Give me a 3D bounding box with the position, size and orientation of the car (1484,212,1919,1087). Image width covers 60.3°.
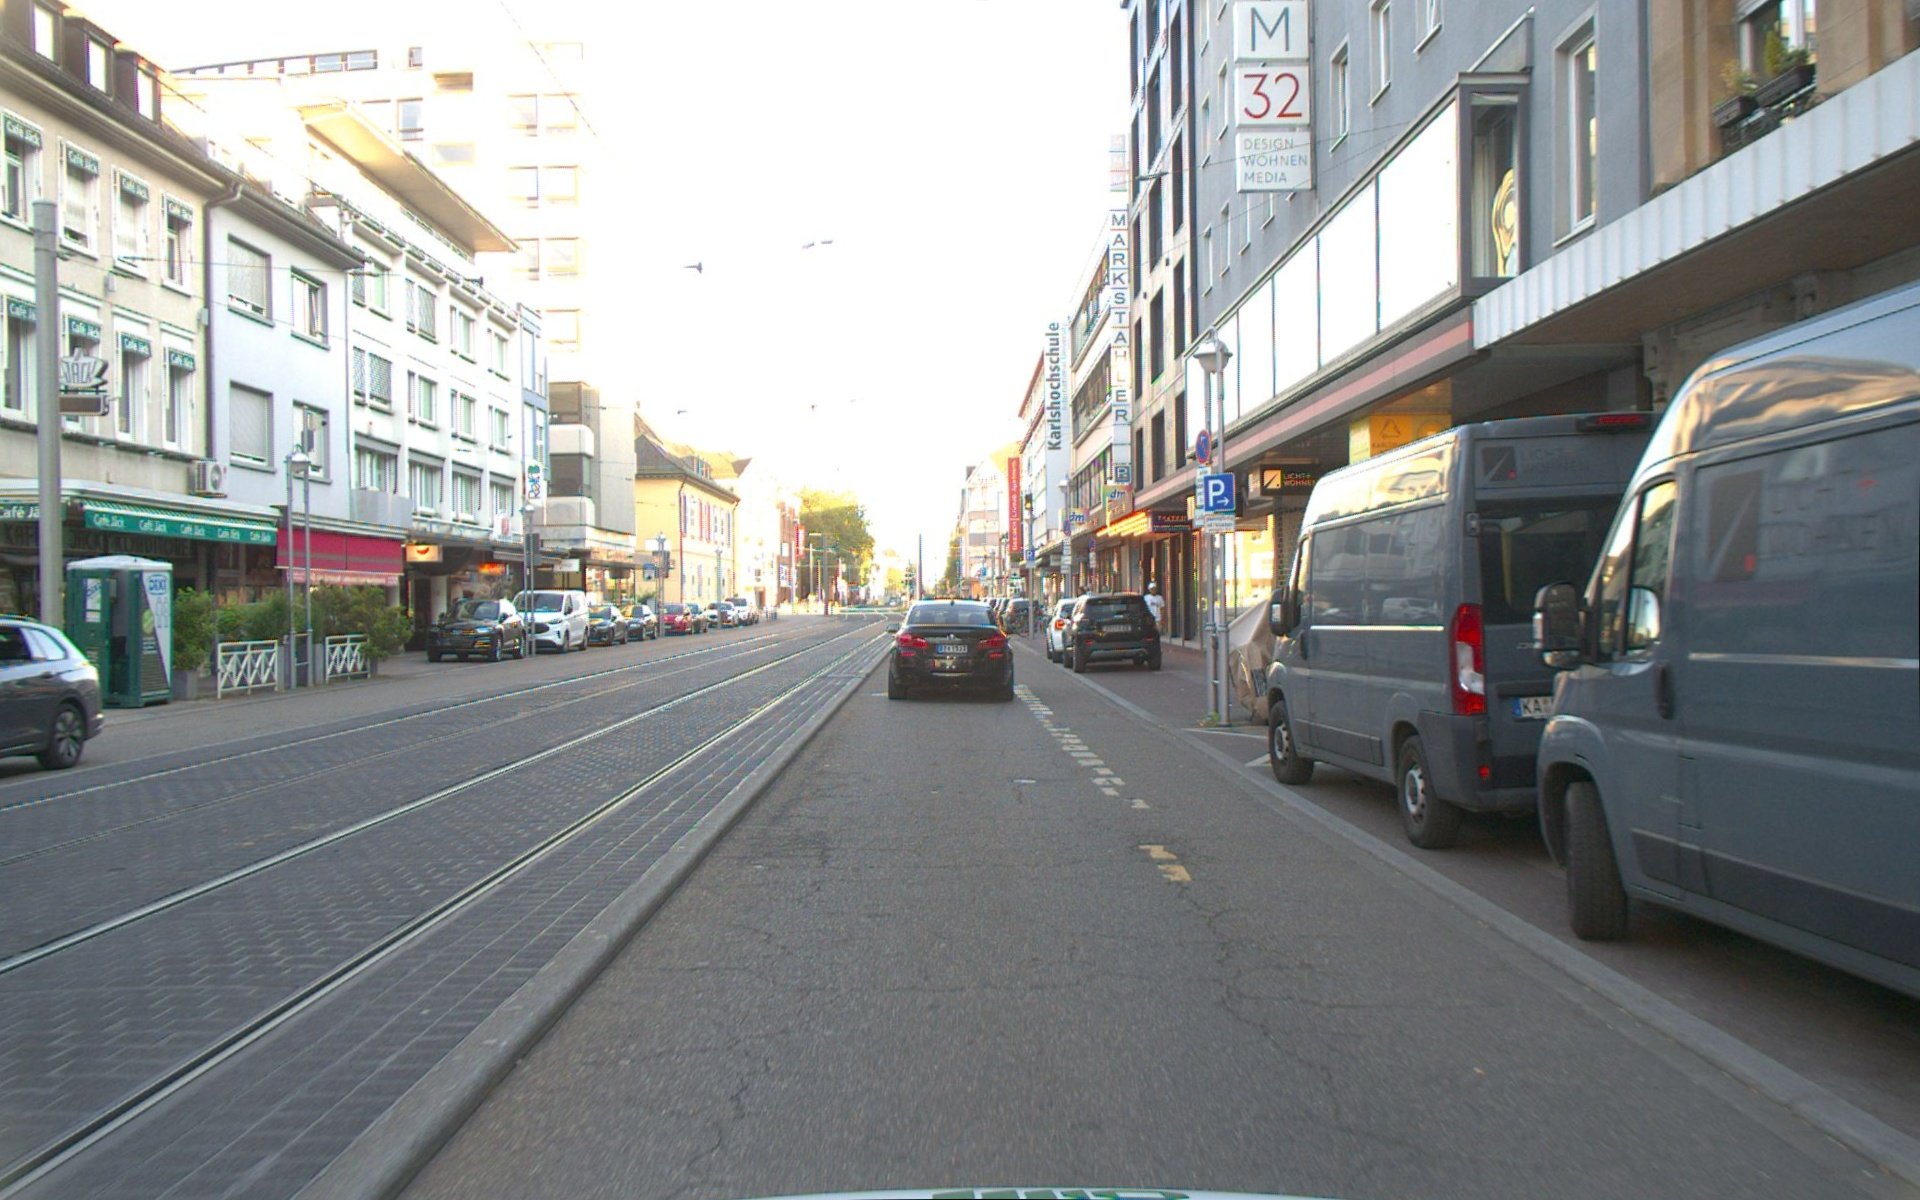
[{"bbox_3d":[3.750,0.119,5.323,2.050,2.498,6.031,-2,0,-1],"label":"car"}]

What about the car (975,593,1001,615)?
[{"bbox_3d":[1.975,0.291,117.092,1.738,1.576,3.502,0,-1,-1],"label":"car"}]

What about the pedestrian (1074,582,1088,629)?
[{"bbox_3d":[4.483,0.203,61.321,0.465,1.729,0.752,-1,0,3],"label":"pedestrian"}]

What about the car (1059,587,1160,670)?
[{"bbox_3d":[3.041,0.550,34.233,1.621,1.564,3.885,-2,0,-1],"label":"car"}]

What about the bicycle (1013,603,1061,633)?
[{"bbox_3d":[2.928,0.685,63.197,1.823,1.099,0.468,-1,-1,0],"label":"bicycle"}]

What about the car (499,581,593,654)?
[{"bbox_3d":[-13.273,0.529,53.270,1.954,2.194,4.908,-1,0,-3],"label":"car"}]

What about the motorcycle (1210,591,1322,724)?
[{"bbox_3d":[3.585,0.641,19.596,0.827,1.443,2.164,-3,0,-1],"label":"motorcycle"}]

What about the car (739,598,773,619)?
[{"bbox_3d":[-14.338,0.562,116.390,1.889,1.460,4.245,0,0,-1],"label":"car"}]

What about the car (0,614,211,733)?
[{"bbox_3d":[-12.749,0.989,23.766,1.952,1.478,4.330,-1,0,0],"label":"car"}]

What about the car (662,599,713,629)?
[{"bbox_3d":[-13.582,0.665,82.627,1.889,1.460,4.245,0,0,-1],"label":"car"}]

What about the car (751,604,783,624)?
[{"bbox_3d":[-14.548,1.021,124.855,1.889,1.460,4.245,0,0,-1],"label":"car"}]

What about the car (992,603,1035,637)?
[{"bbox_3d":[2.536,0.946,79.066,1.864,1.576,3.779,0,-1,-1],"label":"car"}]

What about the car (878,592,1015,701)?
[{"bbox_3d":[-0.160,0.666,25.646,1.913,1.524,4.465,-1,0,1],"label":"car"}]

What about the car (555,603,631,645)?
[{"bbox_3d":[-13.414,0.855,60.650,1.889,1.460,4.245,0,0,-1],"label":"car"}]

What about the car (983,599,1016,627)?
[{"bbox_3d":[2.204,0.751,93.904,1.738,1.576,3.502,0,-1,-1],"label":"car"}]

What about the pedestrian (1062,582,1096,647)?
[{"bbox_3d":[3.150,0.382,43.847,0.550,1.676,0.753,-1,0,-27],"label":"pedestrian"}]

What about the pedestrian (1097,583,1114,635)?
[{"bbox_3d":[5.196,0.328,58.978,0.497,1.824,0.760,-1,0,-1],"label":"pedestrian"}]

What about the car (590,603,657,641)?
[{"bbox_3d":[-13.762,0.874,67.817,1.889,1.460,4.245,0,0,-1],"label":"car"}]

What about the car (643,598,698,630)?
[{"bbox_3d":[-13.532,0.649,77.550,1.889,1.460,4.245,0,0,-1],"label":"car"}]

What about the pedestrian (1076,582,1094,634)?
[{"bbox_3d":[4.490,0.282,59.321,0.542,1.823,0.760,-1,0,-1],"label":"pedestrian"}]

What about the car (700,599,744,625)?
[{"bbox_3d":[-13.801,0.681,96.110,1.889,1.460,4.245,-1,0,-1],"label":"car"}]

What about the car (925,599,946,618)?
[{"bbox_3d":[-2.041,0.739,137.953,1.738,1.576,3.502,0,-1,-1],"label":"car"}]

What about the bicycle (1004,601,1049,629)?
[{"bbox_3d":[2.768,0.627,68.944,1.823,1.139,0.468,-1,-1,0],"label":"bicycle"}]

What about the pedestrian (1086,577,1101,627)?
[{"bbox_3d":[4.953,0.081,61.297,0.478,1.821,0.760,-1,0,3],"label":"pedestrian"}]

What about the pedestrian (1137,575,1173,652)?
[{"bbox_3d":[4.588,0.316,38.920,0.674,1.771,0.821,-3,0,1],"label":"pedestrian"}]

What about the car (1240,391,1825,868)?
[{"bbox_3d":[3.580,0.145,11.698,1.992,2.498,5.407,-3,0,-2],"label":"car"}]

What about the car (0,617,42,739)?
[{"bbox_3d":[-12.716,0.976,18.698,1.952,1.478,4.822,-1,0,0],"label":"car"}]

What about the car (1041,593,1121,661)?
[{"bbox_3d":[2.844,0.600,39.496,1.528,1.467,3.708,-3,0,-1],"label":"car"}]

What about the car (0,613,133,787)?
[{"bbox_3d":[-9.191,0.919,14.433,1.657,1.478,4.465,-3,0,0],"label":"car"}]

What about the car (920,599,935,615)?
[{"bbox_3d":[-4.270,0.939,220.817,1.953,1.870,3.998,0,-3,-1],"label":"car"}]

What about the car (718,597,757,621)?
[{"bbox_3d":[-13.761,0.521,102.516,1.889,1.460,4.245,0,0,-1],"label":"car"}]

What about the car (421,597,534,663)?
[{"bbox_3d":[-13.228,0.784,45.619,1.822,1.707,4.464,0,0,-1],"label":"car"}]

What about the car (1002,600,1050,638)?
[{"bbox_3d":[2.855,0.828,72.217,1.864,1.576,3.999,0,-1,-1],"label":"car"}]
